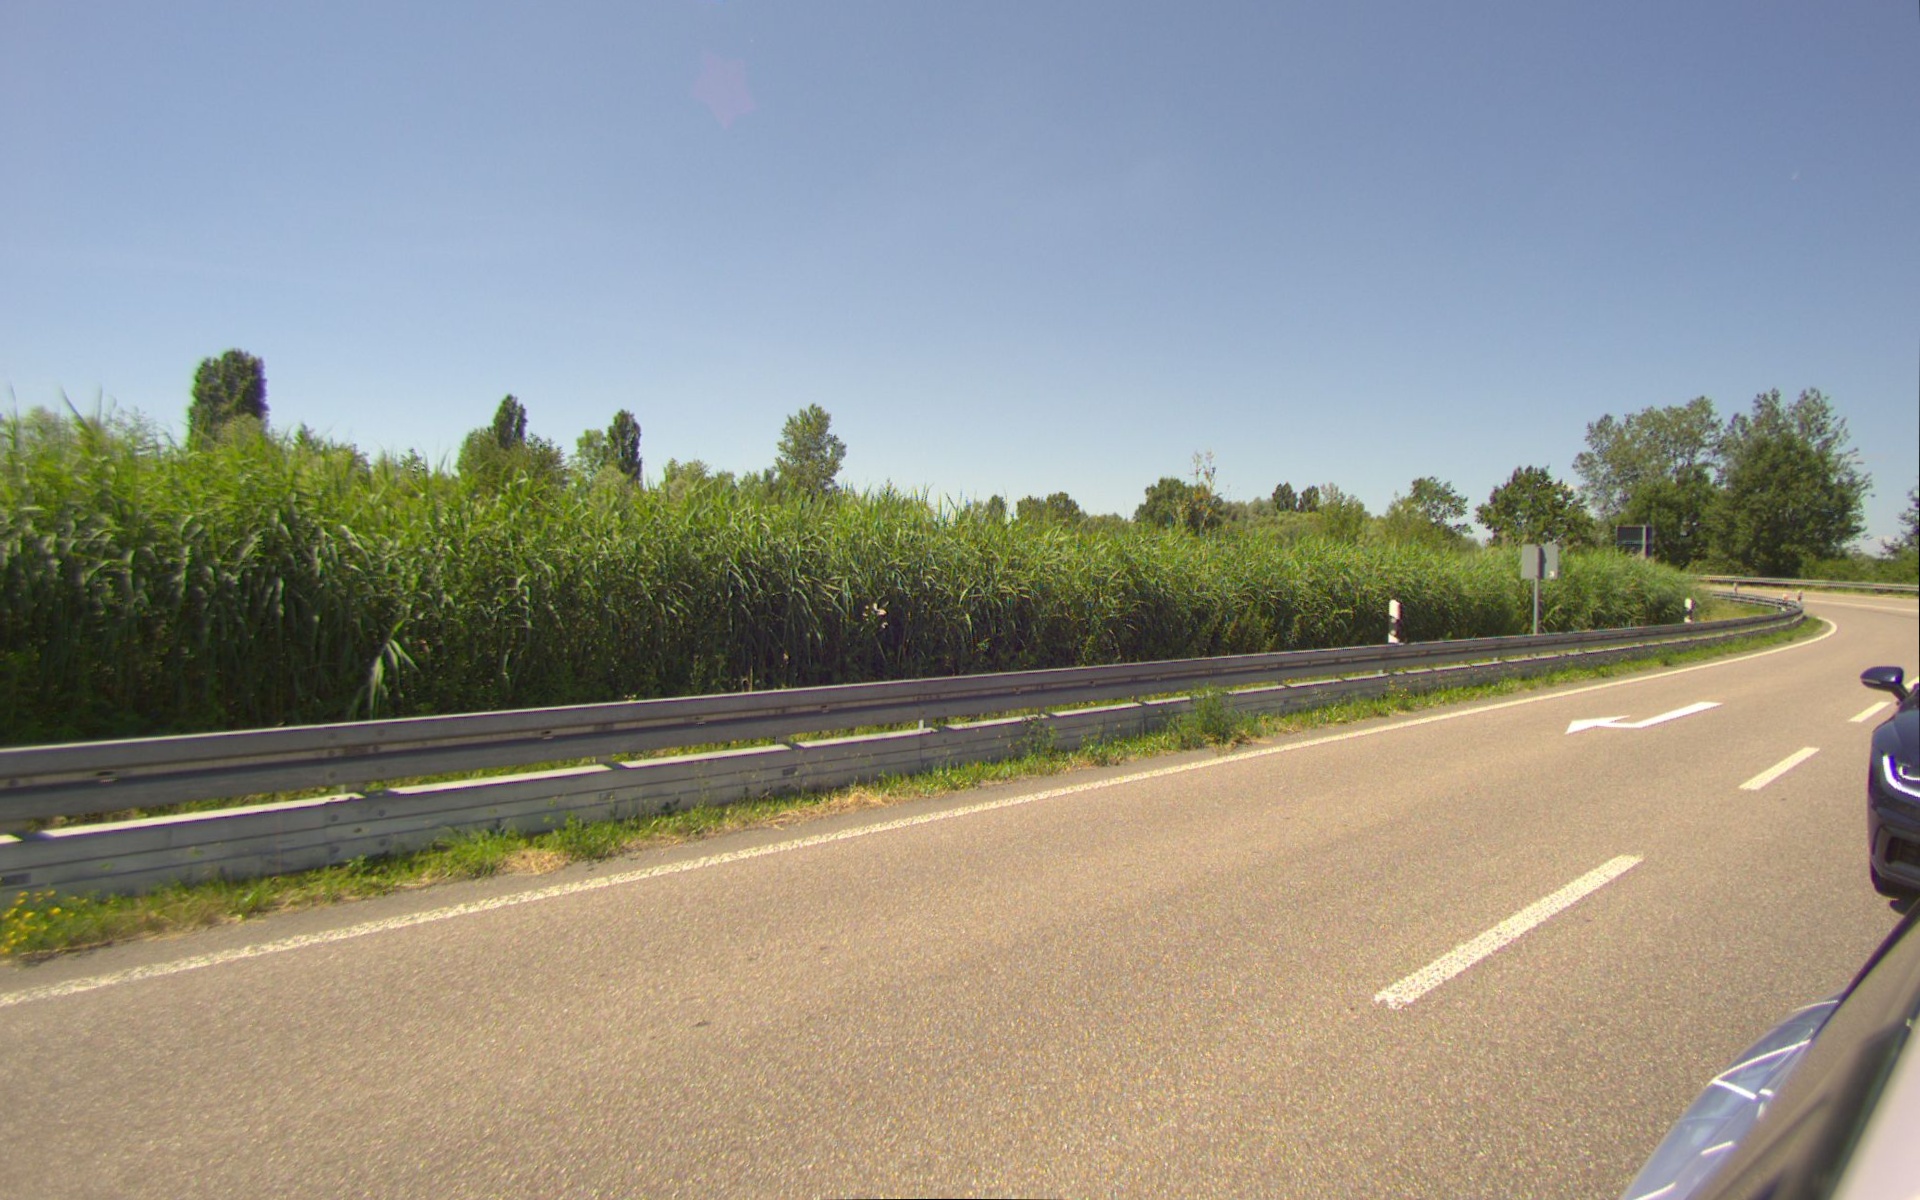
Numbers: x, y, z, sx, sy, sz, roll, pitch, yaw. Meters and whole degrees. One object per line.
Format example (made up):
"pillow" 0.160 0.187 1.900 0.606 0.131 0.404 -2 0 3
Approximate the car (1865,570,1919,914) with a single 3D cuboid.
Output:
"car" 6.235 0.601 5.212 4.338 1.481 1.818 -1 1 -41
